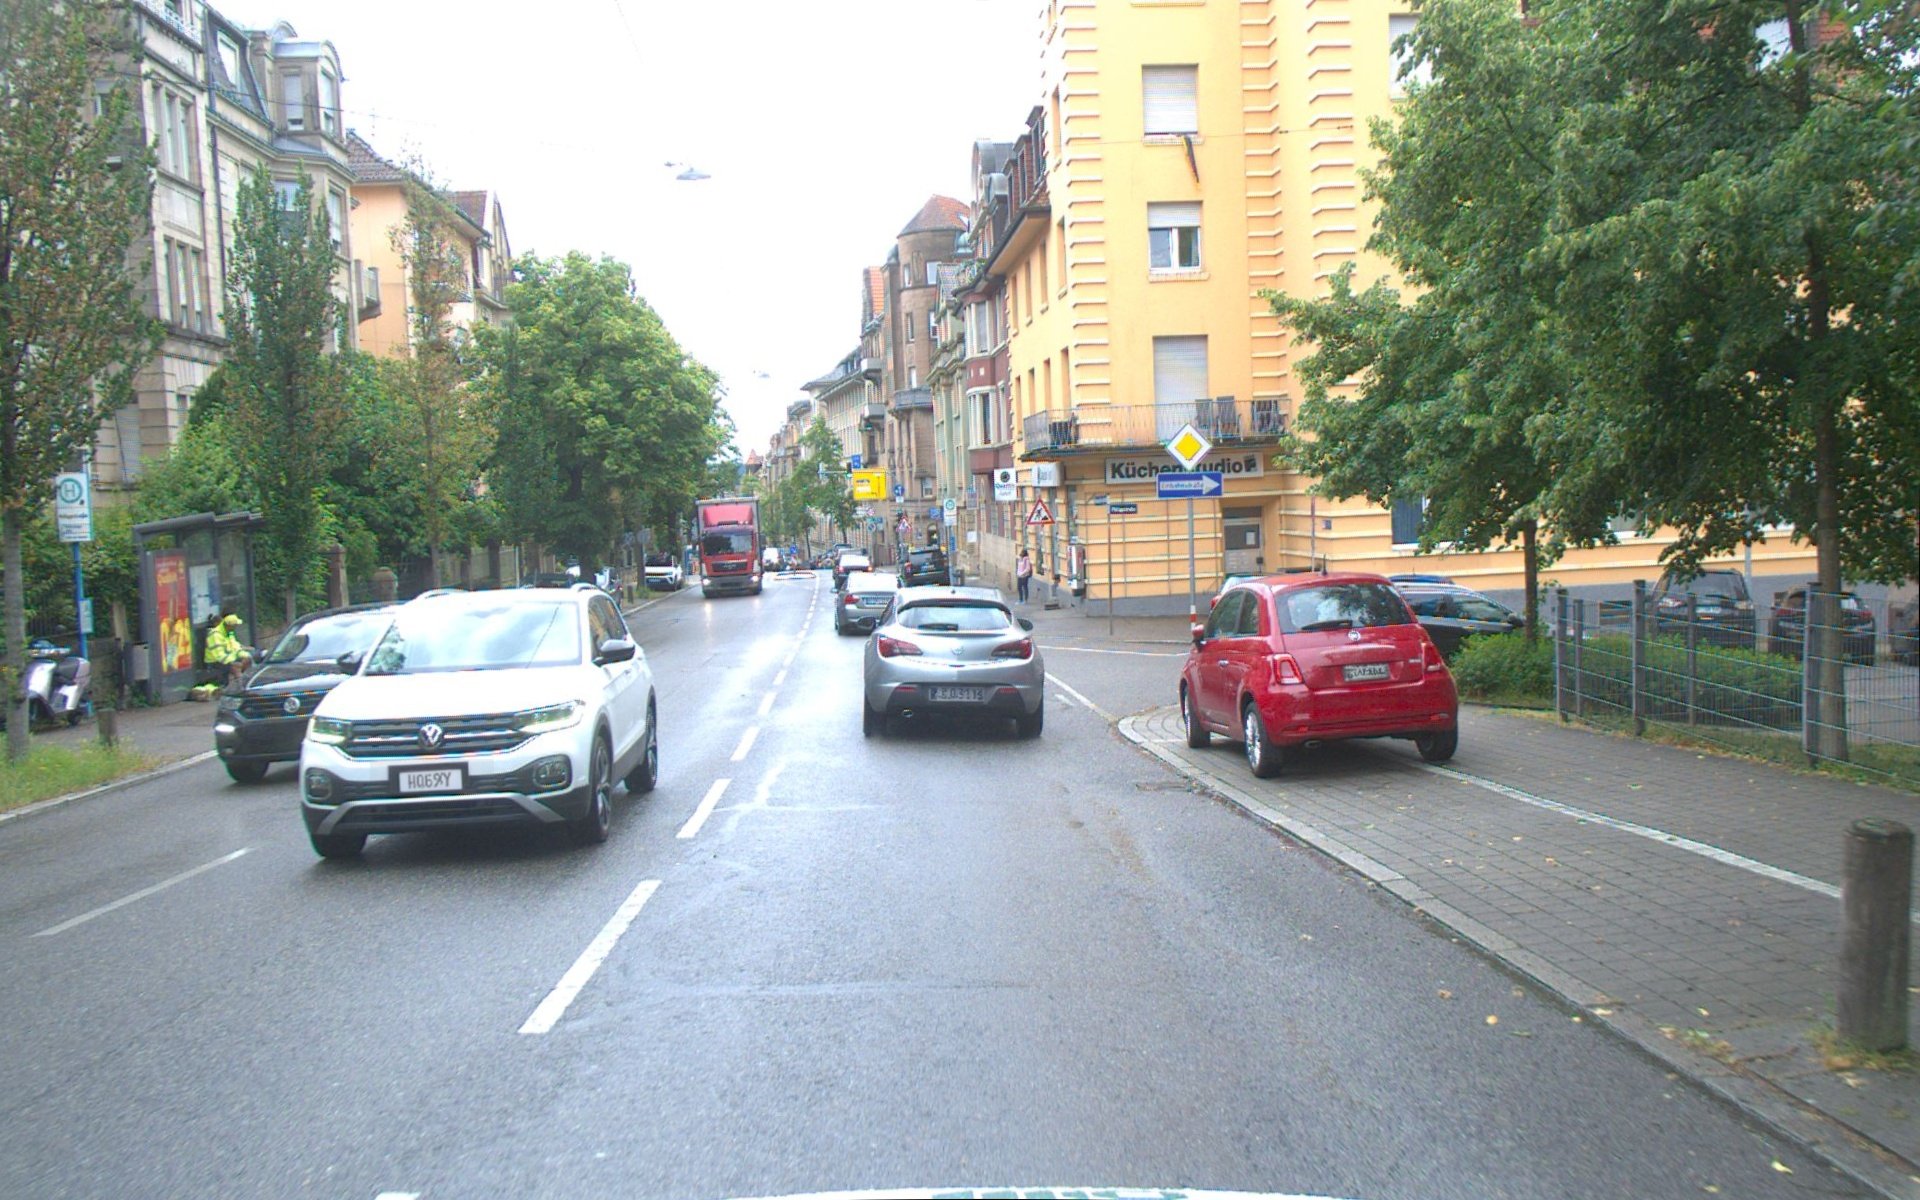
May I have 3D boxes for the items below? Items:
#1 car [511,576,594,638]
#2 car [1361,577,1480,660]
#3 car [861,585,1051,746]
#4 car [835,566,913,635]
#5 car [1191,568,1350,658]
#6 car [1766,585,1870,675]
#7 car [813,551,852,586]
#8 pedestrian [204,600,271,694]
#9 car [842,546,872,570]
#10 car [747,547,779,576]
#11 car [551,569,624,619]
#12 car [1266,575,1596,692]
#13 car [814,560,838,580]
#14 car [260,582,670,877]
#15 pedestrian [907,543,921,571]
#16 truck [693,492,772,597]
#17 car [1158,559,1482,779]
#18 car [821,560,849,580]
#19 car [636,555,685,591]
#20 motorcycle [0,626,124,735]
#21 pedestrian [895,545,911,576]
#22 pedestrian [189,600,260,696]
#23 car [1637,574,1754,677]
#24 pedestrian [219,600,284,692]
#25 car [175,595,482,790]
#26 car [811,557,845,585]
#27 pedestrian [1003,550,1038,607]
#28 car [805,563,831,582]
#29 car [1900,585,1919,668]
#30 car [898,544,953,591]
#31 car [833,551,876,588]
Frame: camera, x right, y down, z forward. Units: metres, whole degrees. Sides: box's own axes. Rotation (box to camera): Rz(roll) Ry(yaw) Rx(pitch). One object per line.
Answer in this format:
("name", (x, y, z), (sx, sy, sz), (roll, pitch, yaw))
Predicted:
("car", (-11.319, 0.161, 46.184), (1.708, 1.586, 4.295), (1, 1, -7))
("car", (9.090, 0.384, 32.474), (1.669, 1.518, 3.634), (1, -1, 25))
("car", (-0.142, 0.594, 17.472), (1.775, 1.475, 3.867), (0, 1, -3))
("car", (-2.058, -0.010, 38.885), (1.737, 1.530, 3.866), (0, 1, -4))
("car", (5.941, 0.209, 31.299), (1.813, 1.494, 4.105), (-2, 1, 28))
("car", (16.989, 0.542, 32.763), (1.670, 1.494, 3.608), (3, 3, 28))
("car", (-6.306, -1.535, 81.355), (1.626, 1.569, 3.659), (-4, 1, -8))
("pedestrian", (-11.680, 0.752, 26.758), (0.751, 1.457, 0.649), (-2, 1, -2))
("car", (-7.525, -3.027, 120.243), (1.627, 1.569, 3.655), (-4, 1, -11))
("car", (-12.048, -2.366, 101.215), (1.738, 1.543, 4.587), (-2, 3, -5))
("car", (-12.161, -0.217, 54.236), (1.707, 1.586, 4.299), (0, 1, -4))
("car", (6.854, 0.471, 24.276), (4.189, 1.524, 1.998), (2, 1, -10))
("car", (-11.453, -2.534, 141.447), (1.610, 1.546, 3.174), (-5, 1, -12))
("car", (-3.085, 0.687, 11.185), (1.737, 1.544, 4.096), (-2, 1, -4))
("pedestrian", (-2.706, -2.565, 98.258), (0.584, 1.612, 0.666), (-3, 2, 14))
("truck", (-9.329, -2.241, 68.664), (2.596, 3.921, 9.298), (-3, 2, -5))
("car", (2.872, 0.471, 14.045), (1.578, 1.528, 3.955), (-3, 1, -4))
("car", (-10.338, -2.479, 136.192), (1.666, 1.456, 4.409), (-5, 1, -12))
("car", (-13.637, -1.250, 75.513), (1.707, 1.586, 4.299), (0, 1, -4))
("motorcycle", (-11.527, 1.007, 21.270), (0.642, 1.258, 1.762), (-2, 1, -1))
("pedestrian", (-3.366, -2.367, 98.477), (0.702, 1.804, 0.666), (-3, 2, 14))
("pedestrian", (-11.604, 0.750, 26.121), (0.751, 1.457, 0.759), (-2, 1, -4))
("car", (14.273, 0.421, 32.296), (1.667, 1.754, 4.542), (1, 2, 19))
("pedestrian", (-11.736, 0.753, 27.415), (0.751, 1.457, 0.649), (-2, 1, -2))
("car", (-6.138, 0.811, 16.575), (1.710, 1.543, 3.866), (-4, 1, -4))
("car", (-8.191, -1.787, 102.284), (1.627, 1.569, 3.655), (-4, 1, -11))
("pedestrian", (1.771, -0.629, 48.554), (0.756, 1.617, 0.707), (-2, 1, -23))
("car", (-12.674, -2.443, 147.449), (1.727, 1.486, 4.710), (-5, 1, -12))
("car", (19.761, 0.473, 32.913), (1.670, 1.494, 3.608), (-2, 1, 28))
("car", (-1.402, -1.273, 65.580), (1.840, 1.657, 4.694), (-4, 1, -4))
("car", (-4.411, -1.265, 69.001), (1.737, 1.530, 3.866), (0, 1, -4))
